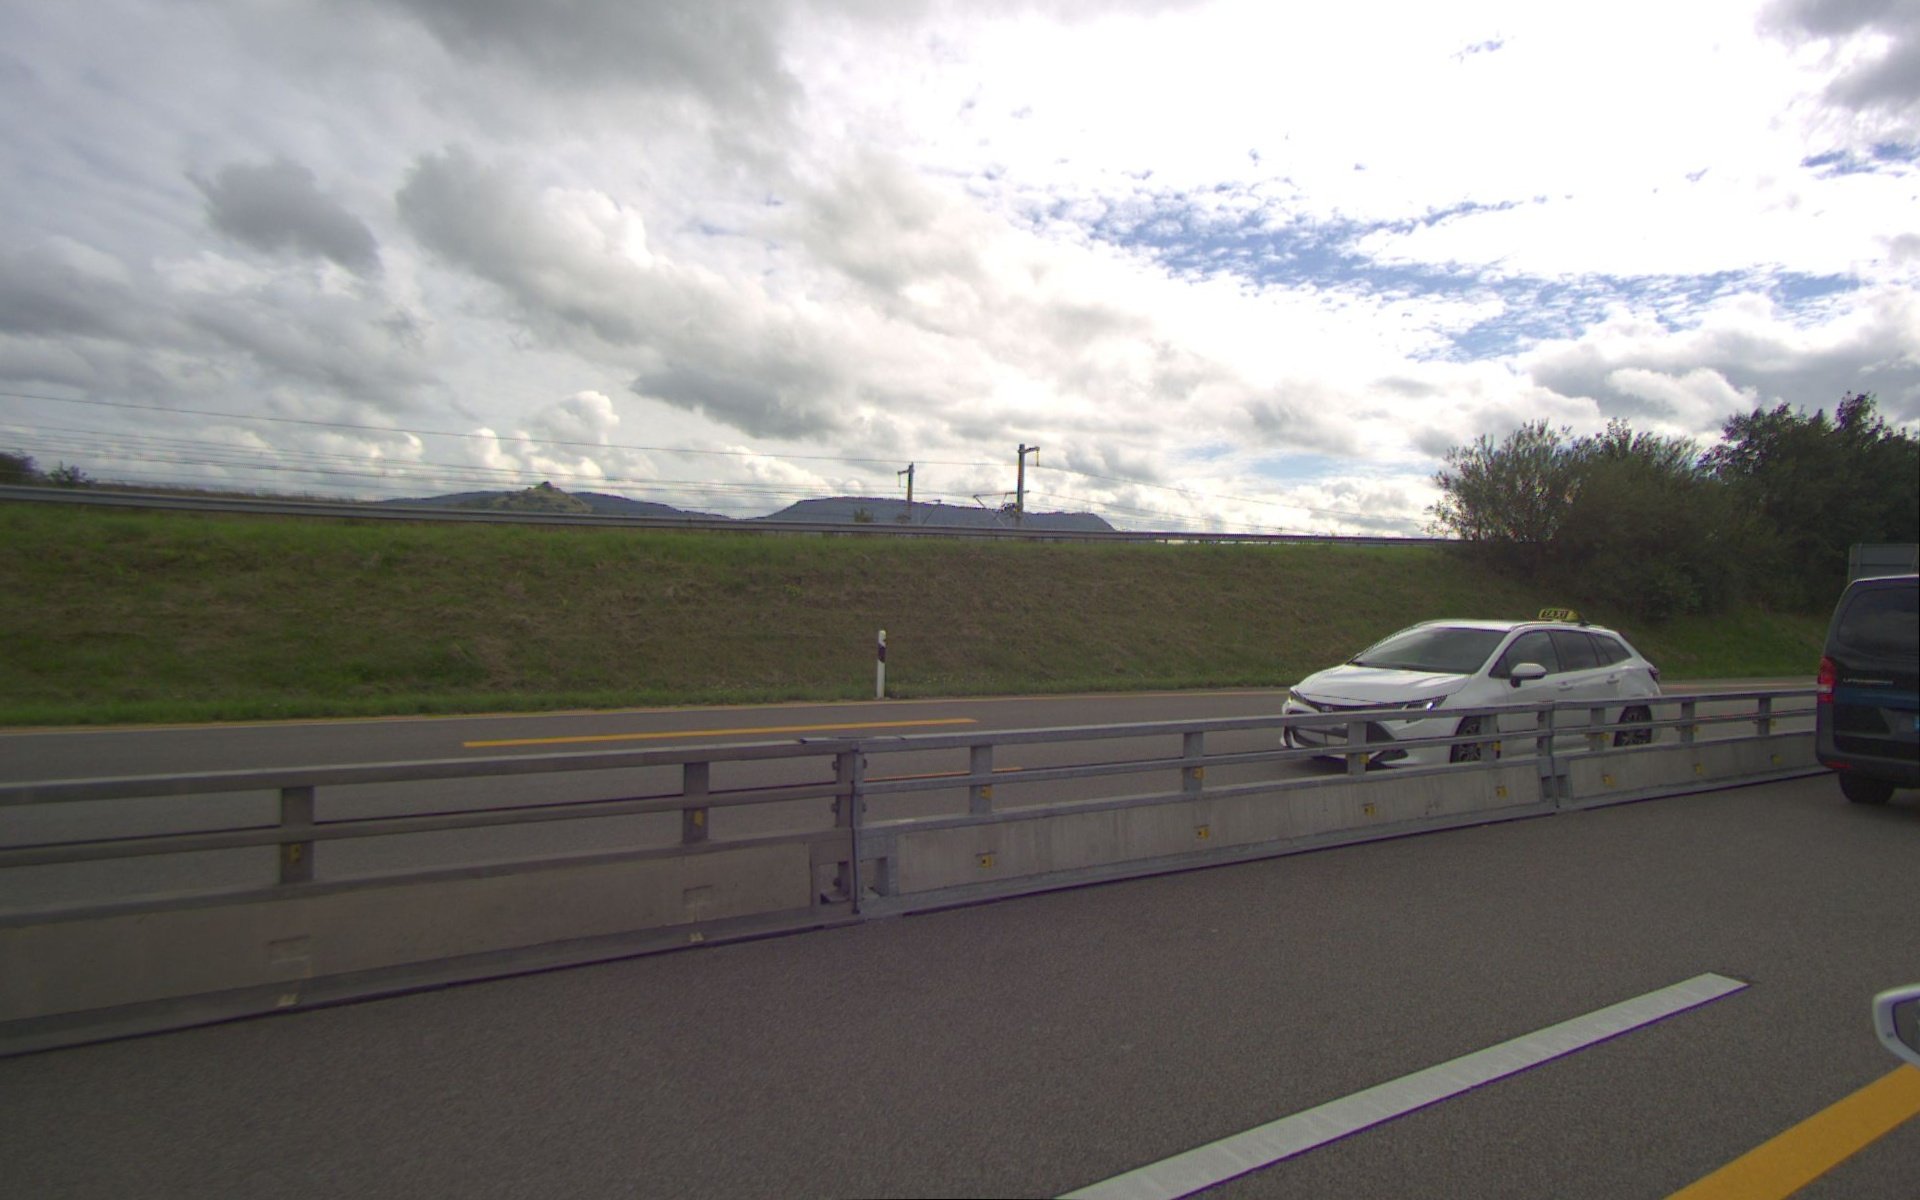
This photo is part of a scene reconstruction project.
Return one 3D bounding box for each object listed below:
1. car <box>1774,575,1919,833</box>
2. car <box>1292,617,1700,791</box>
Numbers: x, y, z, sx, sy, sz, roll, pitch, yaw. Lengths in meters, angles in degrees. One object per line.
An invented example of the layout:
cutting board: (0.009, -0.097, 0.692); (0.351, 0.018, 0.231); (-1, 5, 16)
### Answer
car: (9.398, 0.819, 8.585); (5.544, 1.867, 1.984); (2, -1, -30)
car: (5.582, 0.928, 10.325); (4.277, 1.407, 1.748); (1, 1, -31)
